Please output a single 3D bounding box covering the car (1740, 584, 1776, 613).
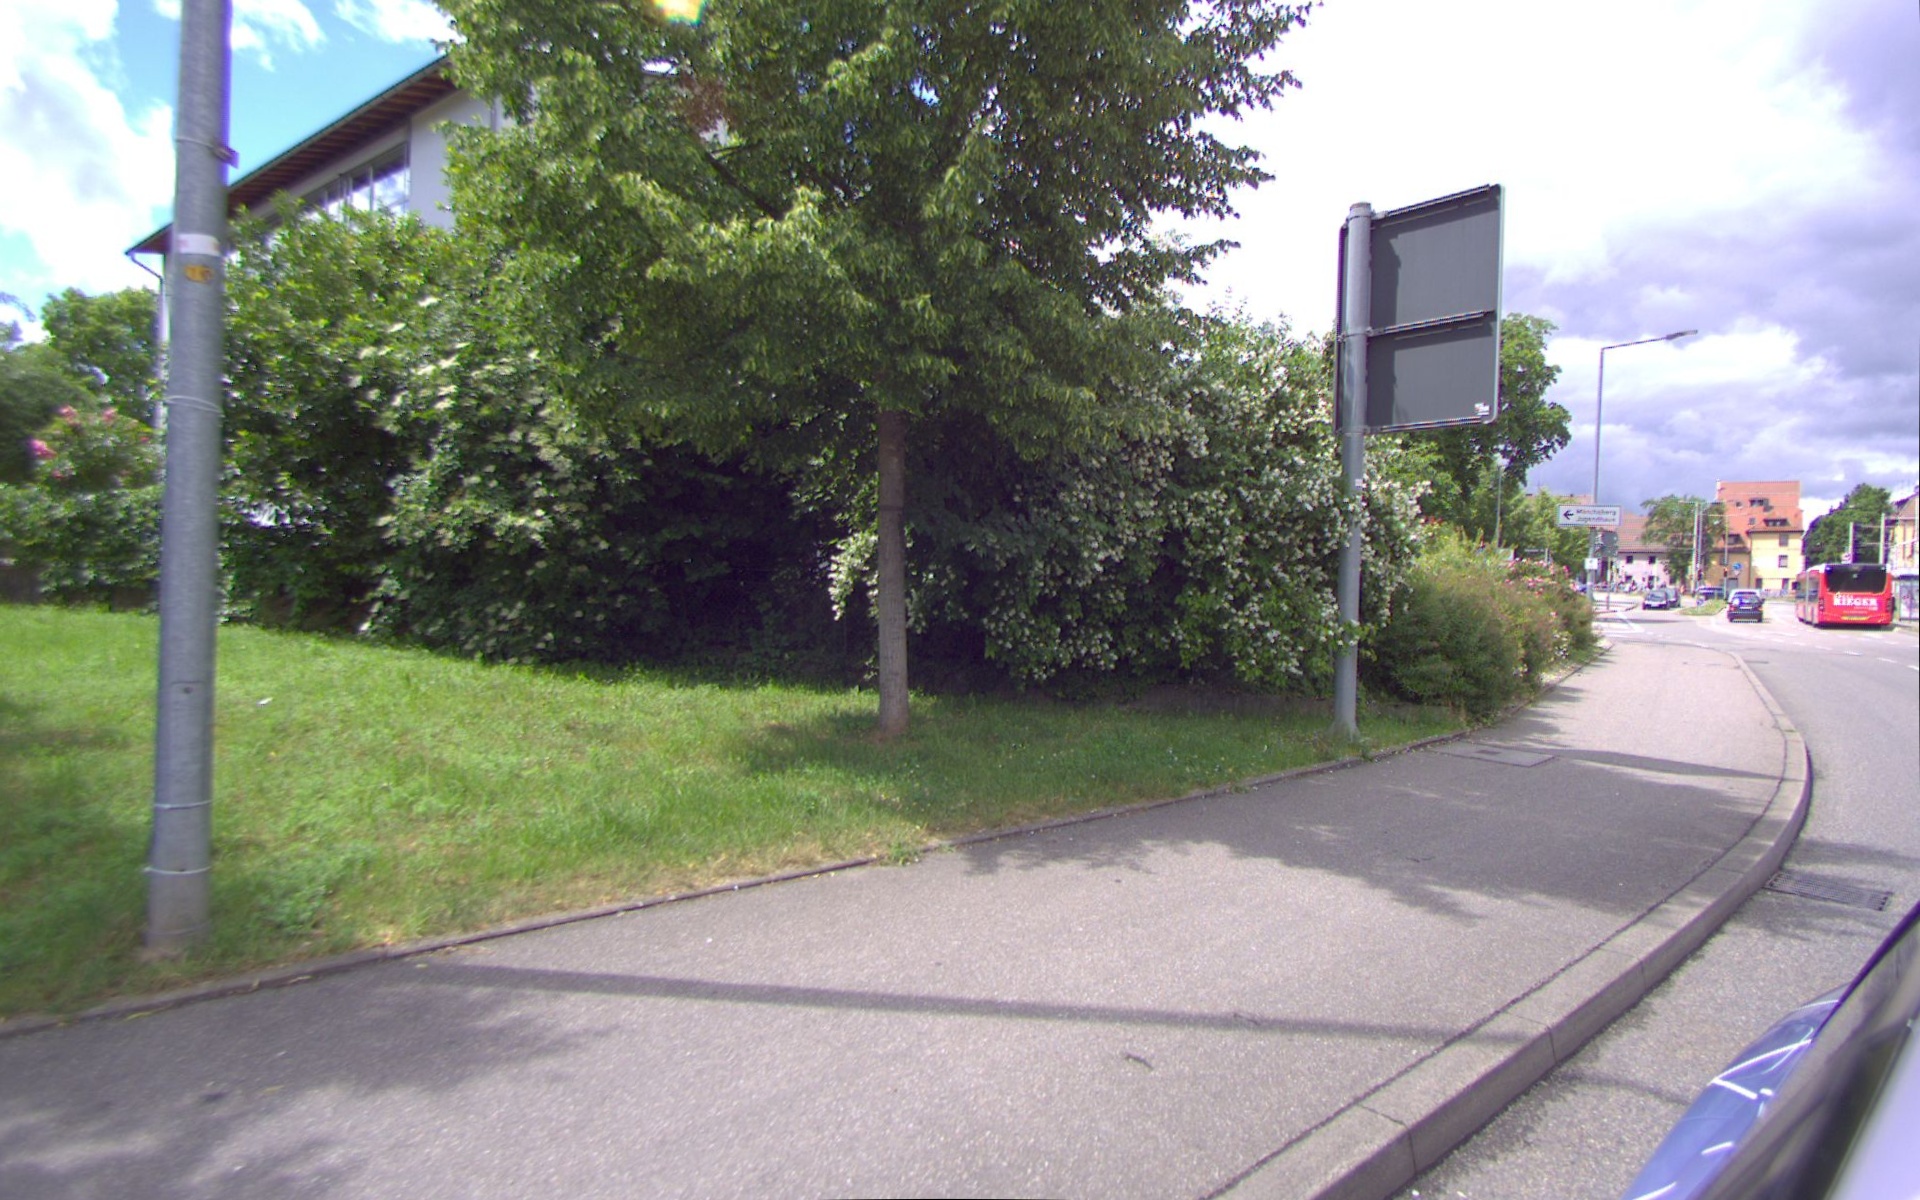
[{"bbox_3d":[44.720,-0.090,56.712,1.527,1.570,3.679,0,1,39],"label":"car"}]

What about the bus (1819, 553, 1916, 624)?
[{"bbox_3d":[43.282,-0.562,48.496,2.720,3.108,8.841,2,2,38],"label":"bus"}]

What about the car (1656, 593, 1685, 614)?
[{"bbox_3d":[62.313,0.325,88.707,1.988,1.670,4.361,2,0,36],"label":"car"}]

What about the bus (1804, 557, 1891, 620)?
[{"bbox_3d":[48.786,-0.638,55.858,2.720,3.148,9.574,2,2,37],"label":"bus"}]

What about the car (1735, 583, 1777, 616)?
[{"bbox_3d":[49.245,-0.010,62.676,1.757,1.684,4.447,3,-2,35],"label":"car"}]

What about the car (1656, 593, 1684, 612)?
[{"bbox_3d":[58.413,0.246,83.264,1.872,1.447,3.948,2,0,35],"label":"car"}]
